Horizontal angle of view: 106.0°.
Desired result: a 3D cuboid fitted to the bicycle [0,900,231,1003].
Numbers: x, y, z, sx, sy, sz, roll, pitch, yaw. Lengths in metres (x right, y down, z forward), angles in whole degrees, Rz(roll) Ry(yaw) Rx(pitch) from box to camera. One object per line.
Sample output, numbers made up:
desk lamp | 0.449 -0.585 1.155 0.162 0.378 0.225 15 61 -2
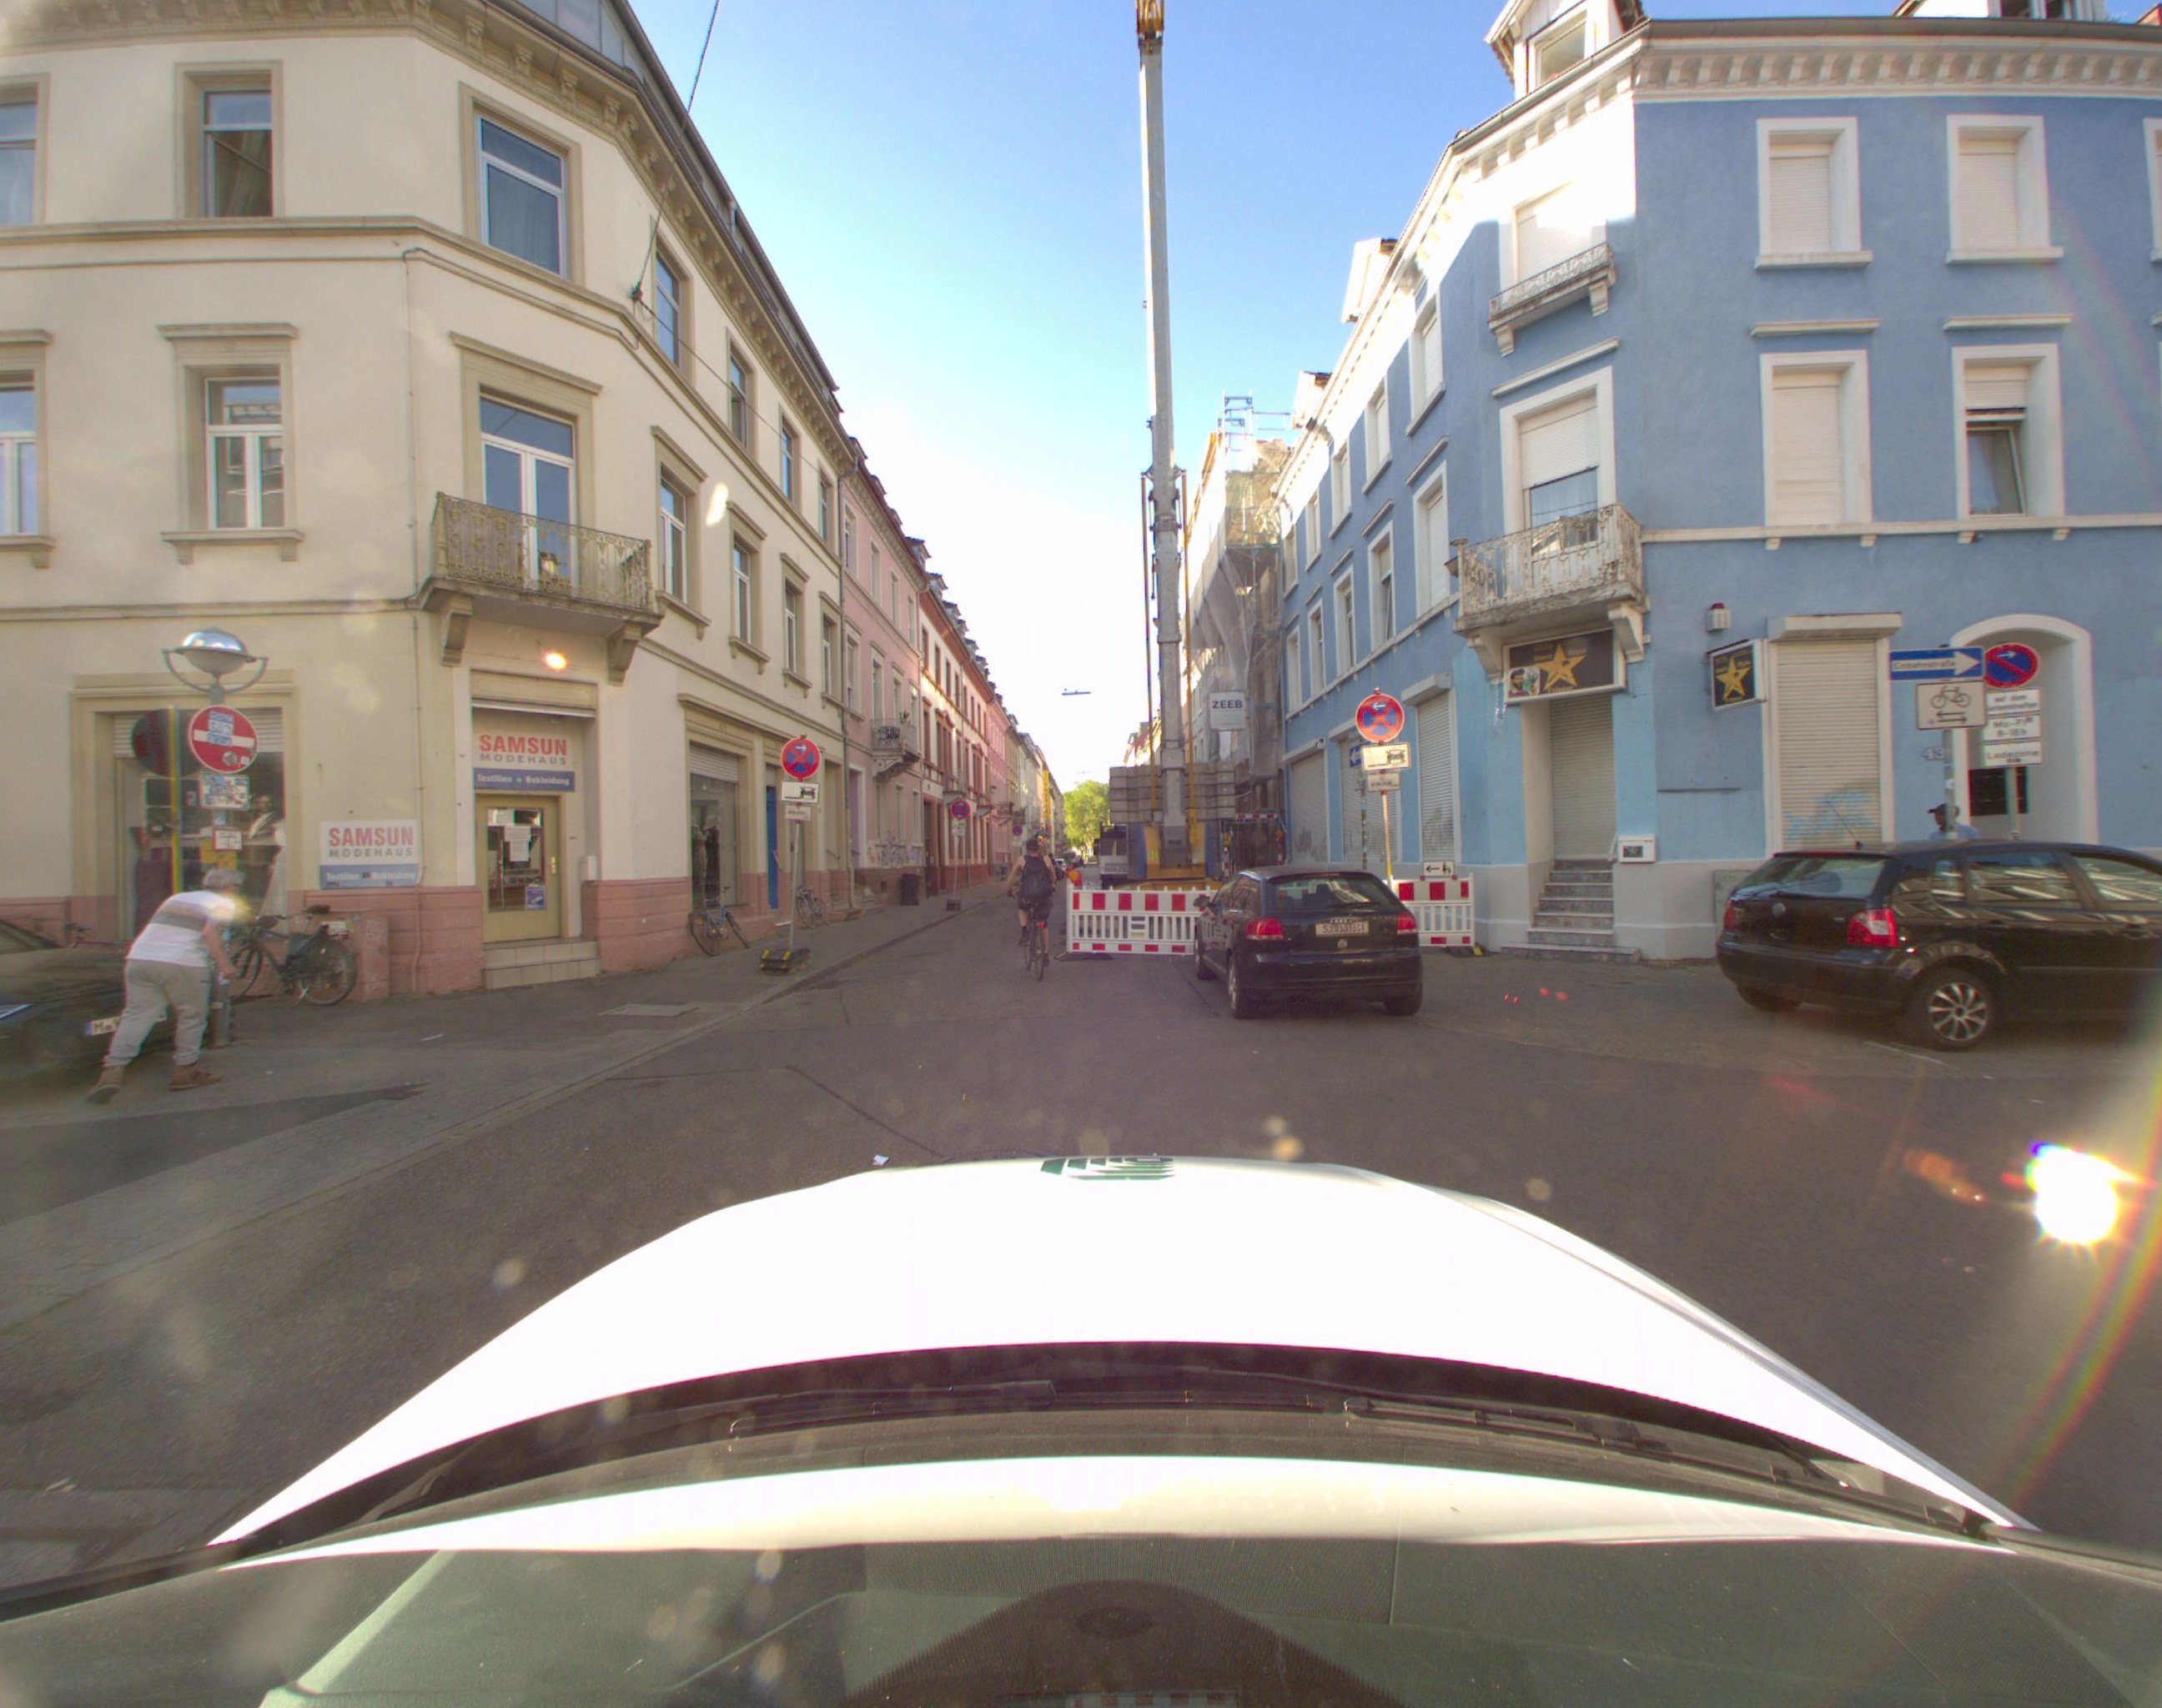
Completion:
bicycle | -11.002 1.082 9.240 1.919 1.070 0.611 0 -1 -6

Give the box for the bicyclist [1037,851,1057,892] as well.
bicyclist | -1.366 0.697 33.113 0.700 1.605 0.812 -2 1 0

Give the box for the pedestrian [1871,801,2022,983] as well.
pedestrian | 9.232 0.390 8.724 0.767 1.849 0.780 0 -1 0

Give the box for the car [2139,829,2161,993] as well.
car | 11.644 0.484 6.329 4.452 1.434 1.758 -1 1 2

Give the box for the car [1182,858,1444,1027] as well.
car | 2.259 0.771 9.058 1.766 1.434 4.033 -1 0 0

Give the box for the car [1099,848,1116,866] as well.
car | 4.019 0.475 124.216 2.300 2.538 6.769 -4 -1 0

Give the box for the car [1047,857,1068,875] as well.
car | -2.030 1.018 71.578 1.666 1.441 3.768 -4 -1 0

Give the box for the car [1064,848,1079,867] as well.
car | -1.354 0.447 113.083 1.904 2.497 4.163 -2 0 -2

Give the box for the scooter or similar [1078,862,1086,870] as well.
scooter or similar | 0.107 1.324 91.918 0.769 0.873 0.770 0 -1 -4

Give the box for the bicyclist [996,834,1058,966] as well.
bicyclist | -0.692 0.578 10.683 0.699 1.633 1.090 -1 -1 1

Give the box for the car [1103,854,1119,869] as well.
car | 3.362 0.870 91.993 1.615 1.550 4.000 -4 -1 0

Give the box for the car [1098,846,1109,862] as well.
car | 5.397 0.047 197.315 2.300 3.767 6.769 -4 -1 0

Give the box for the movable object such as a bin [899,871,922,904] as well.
movable object such as a bin | -5.564 1.086 26.582 0.604 1.035 0.596 0 -1 -1

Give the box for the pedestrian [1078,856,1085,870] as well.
pedestrian | 0.074 0.982 92.472 0.769 1.578 0.899 0 -1 -4

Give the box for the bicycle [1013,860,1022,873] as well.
bicycle | -5.257 1.041 67.398 0.590 1.089 2.079 0 -1 1

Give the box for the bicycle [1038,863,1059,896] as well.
bicycle | -1.323 1.027 33.271 0.699 1.208 2.342 -2 1 0

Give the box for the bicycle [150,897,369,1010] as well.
bicycle | -8.996 1.066 8.950 1.911 1.149 0.613 0 -1 6

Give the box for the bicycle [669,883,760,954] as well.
bicycle | -5.956 1.012 13.349 0.601 1.022 1.818 2 -1 1

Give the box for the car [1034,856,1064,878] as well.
car | -2.281 0.932 58.714 1.703 1.383 4.359 -2 1 3

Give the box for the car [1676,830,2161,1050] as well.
car | 7.183 0.568 6.352 3.854 1.453 1.677 -1 0 0

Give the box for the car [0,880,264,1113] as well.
car | -9.091 0.985 6.059 4.128 1.455 1.758 -1 0 -2

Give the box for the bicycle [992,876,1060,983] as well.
bicycle | -0.686 0.927 10.848 0.699 1.208 2.342 -1 -1 1

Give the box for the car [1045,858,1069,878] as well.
car | -1.924 1.128 65.750 1.666 1.441 4.165 -4 -1 0

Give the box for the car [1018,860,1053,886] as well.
car | -2.655 1.089 48.174 1.705 1.383 4.505 -4 -1 0

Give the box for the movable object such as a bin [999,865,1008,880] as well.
movable object such as a bin | -5.162 1.236 54.054 0.541 0.945 0.487 0 -1 1

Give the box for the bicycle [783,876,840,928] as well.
bicycle | -5.918 1.030 17.954 0.620 1.022 1.818 0 0 1

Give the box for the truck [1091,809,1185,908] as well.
truck | 1.674 0.164 26.750 2.652 2.814 7.394 0 -1 1

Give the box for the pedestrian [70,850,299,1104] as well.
pedestrian | -6.586 0.850 6.036 0.691 1.701 0.865 3 2 0
